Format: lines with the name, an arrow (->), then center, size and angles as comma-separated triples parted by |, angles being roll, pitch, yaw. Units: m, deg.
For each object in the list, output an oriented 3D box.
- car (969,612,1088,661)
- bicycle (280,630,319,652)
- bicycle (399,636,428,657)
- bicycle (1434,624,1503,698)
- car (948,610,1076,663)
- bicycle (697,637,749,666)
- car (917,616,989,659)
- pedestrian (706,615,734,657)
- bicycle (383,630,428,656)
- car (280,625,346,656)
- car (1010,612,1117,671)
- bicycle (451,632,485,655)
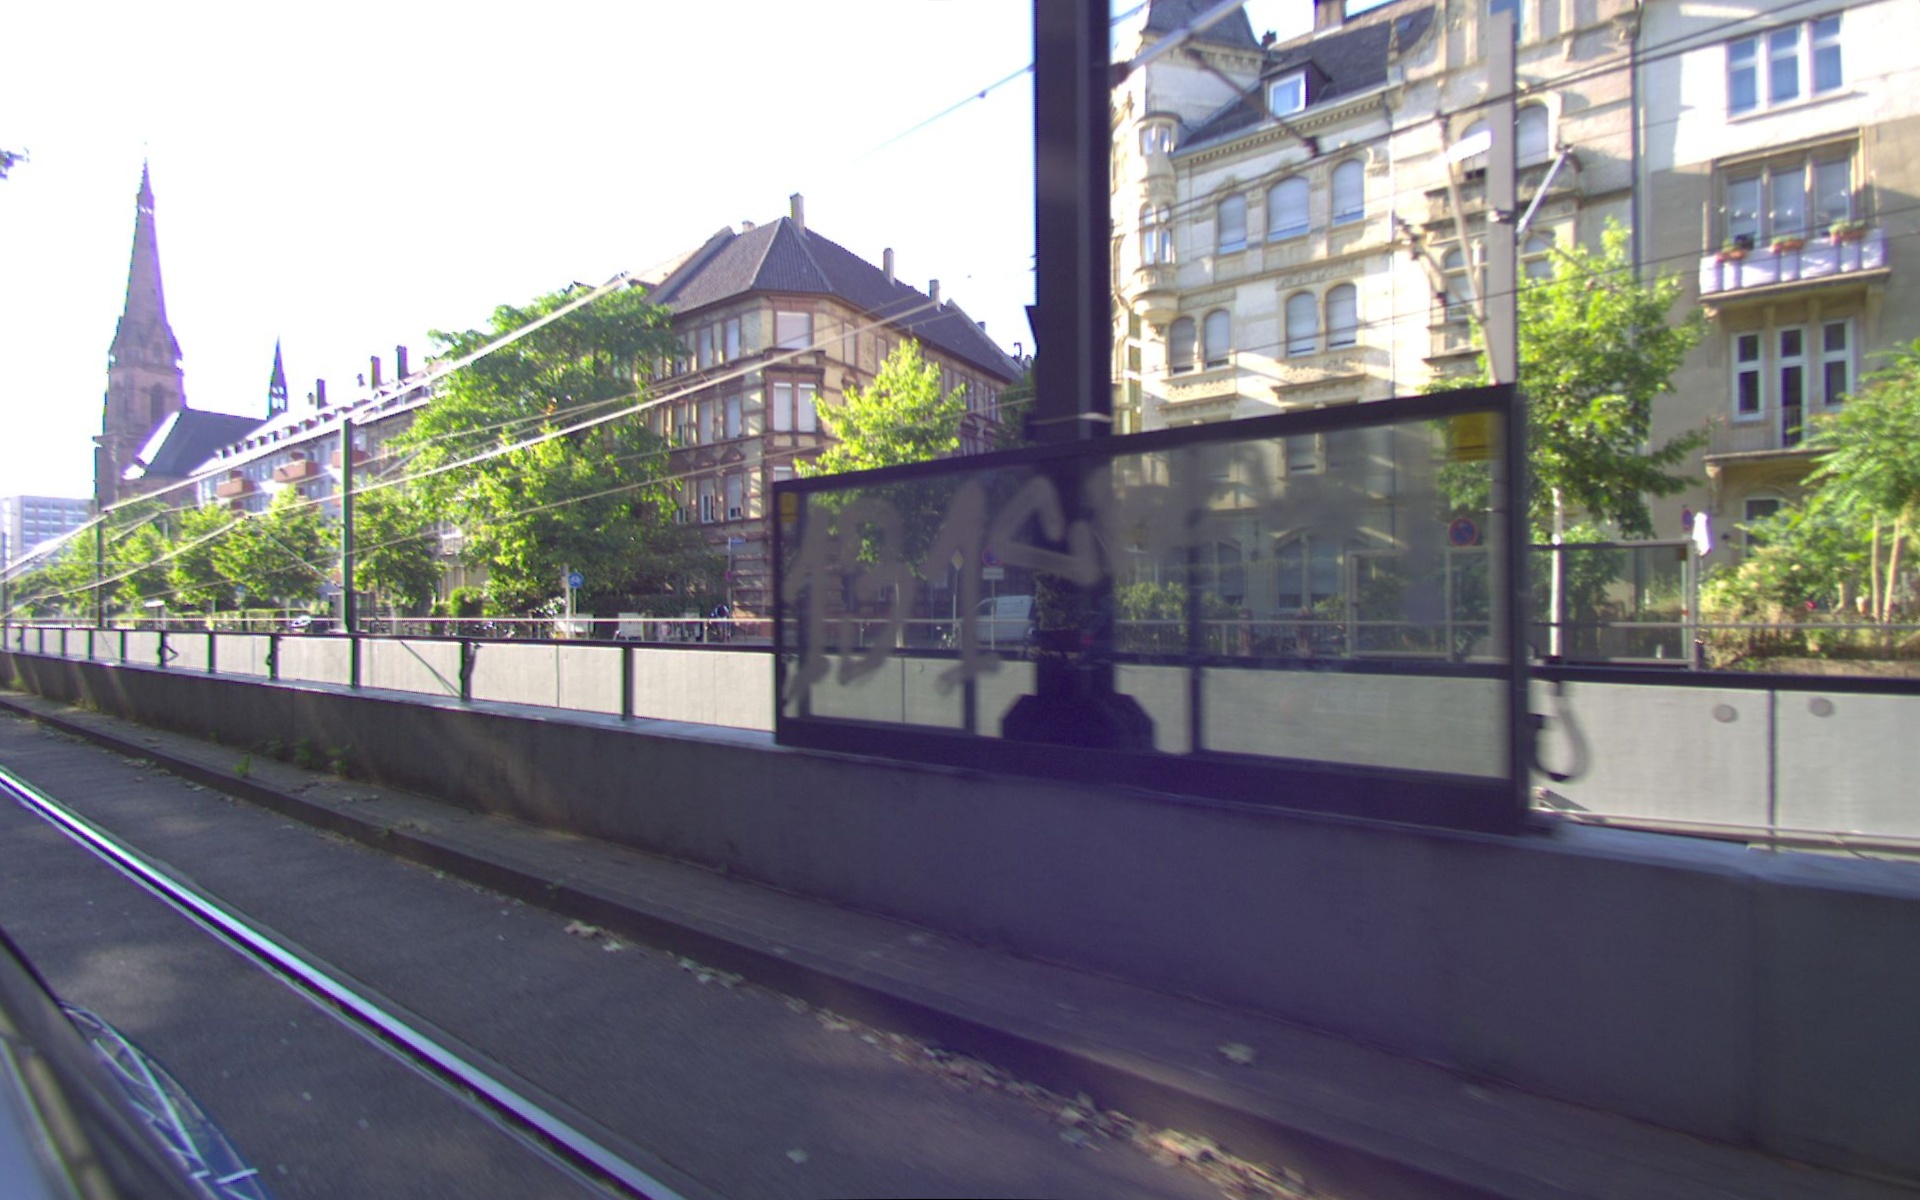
car -> 2.805, 1.509, 41.678 | 4.459, 1.863, 1.981 | -2, 1, 28
bicycle -> -38.700, 2.384, 59.276 | 0.562, 1.187, 1.789 | -2, 1, 42
bicycle -> -26.252, 2.246, 48.658 | 0.533, 0.912, 1.265 | -2, 1, 9
bicycle -> 9.393, 1.092, 18.671 | 1.711, 1.289, 0.600 | 1, -2, -45
car -> 1.994, 1.400, 38.985 | 4.459, 1.863, 1.981 | -2, 1, 28
bicycle -> -8.982, 1.951, 38.360 | 1.922, 1.012, 0.454 | 1, 1, 9
car -> -0.278, 1.834, 50.779 | 1.987, 1.863, 4.413 | -2, 1, 23
pedestrian -> -10.065, 1.510, 42.445 | 0.711, 1.701, 0.865 | -3, 1, -45
bicycle -> -26.792, 2.071, 48.974 | 0.551, 1.106, 2.369 | -2, 1, 9
car -> -36.222, 2.235, 56.638 | 3.994, 1.597, 1.815 | -2, 1, 38
car -> 3.300, 1.251, 31.553 | 1.818, 1.636, 3.959 | -2, 0, 30
bicycle -> -24.609, 2.177, 50.579 | 2.373, 1.107, 0.550 | -2, 1, 40
